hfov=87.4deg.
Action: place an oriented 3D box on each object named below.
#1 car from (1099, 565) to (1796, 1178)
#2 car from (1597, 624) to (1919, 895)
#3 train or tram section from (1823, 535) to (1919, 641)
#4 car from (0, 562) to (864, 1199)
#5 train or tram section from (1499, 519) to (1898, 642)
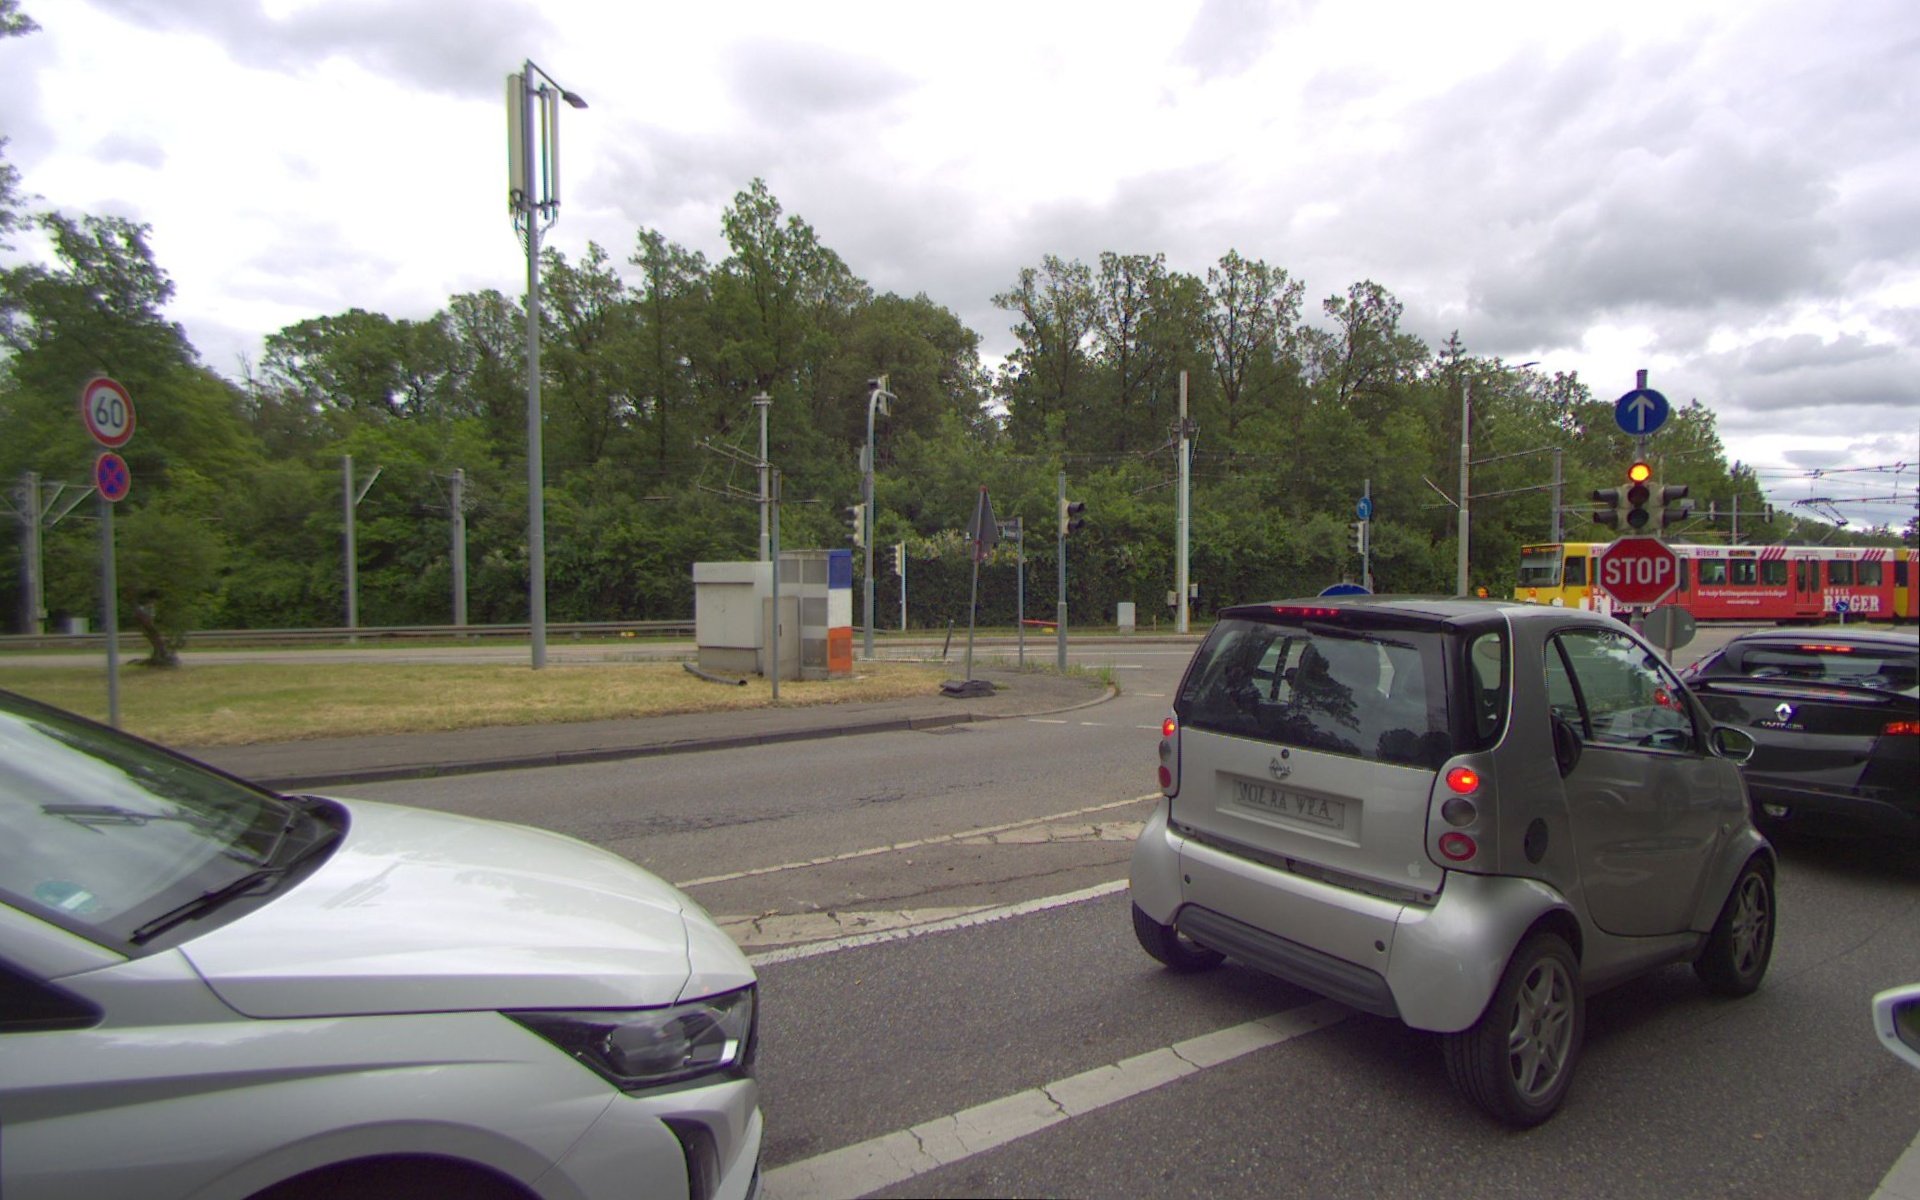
[{"bbox_3d":[2.032,0.721,4.031,2.701,1.607,1.447,0,0,-36],"label":"car"},{"bbox_3d":[6.046,0.889,6.950,3.446,1.380,1.760,0,0,-39],"label":"car"},{"bbox_3d":[49.619,-0.282,49.561,18.284,4.712,2.939,2,0,-24],"label":"train or tram section"},{"bbox_3d":[-2.322,0.704,1.612,4.022,1.499,1.643,0,0,-28],"label":"car"},{"bbox_3d":[32.144,-0.683,43.474,18.416,4.477,2.956,2,0,-15],"label":"train or tram section"}]
